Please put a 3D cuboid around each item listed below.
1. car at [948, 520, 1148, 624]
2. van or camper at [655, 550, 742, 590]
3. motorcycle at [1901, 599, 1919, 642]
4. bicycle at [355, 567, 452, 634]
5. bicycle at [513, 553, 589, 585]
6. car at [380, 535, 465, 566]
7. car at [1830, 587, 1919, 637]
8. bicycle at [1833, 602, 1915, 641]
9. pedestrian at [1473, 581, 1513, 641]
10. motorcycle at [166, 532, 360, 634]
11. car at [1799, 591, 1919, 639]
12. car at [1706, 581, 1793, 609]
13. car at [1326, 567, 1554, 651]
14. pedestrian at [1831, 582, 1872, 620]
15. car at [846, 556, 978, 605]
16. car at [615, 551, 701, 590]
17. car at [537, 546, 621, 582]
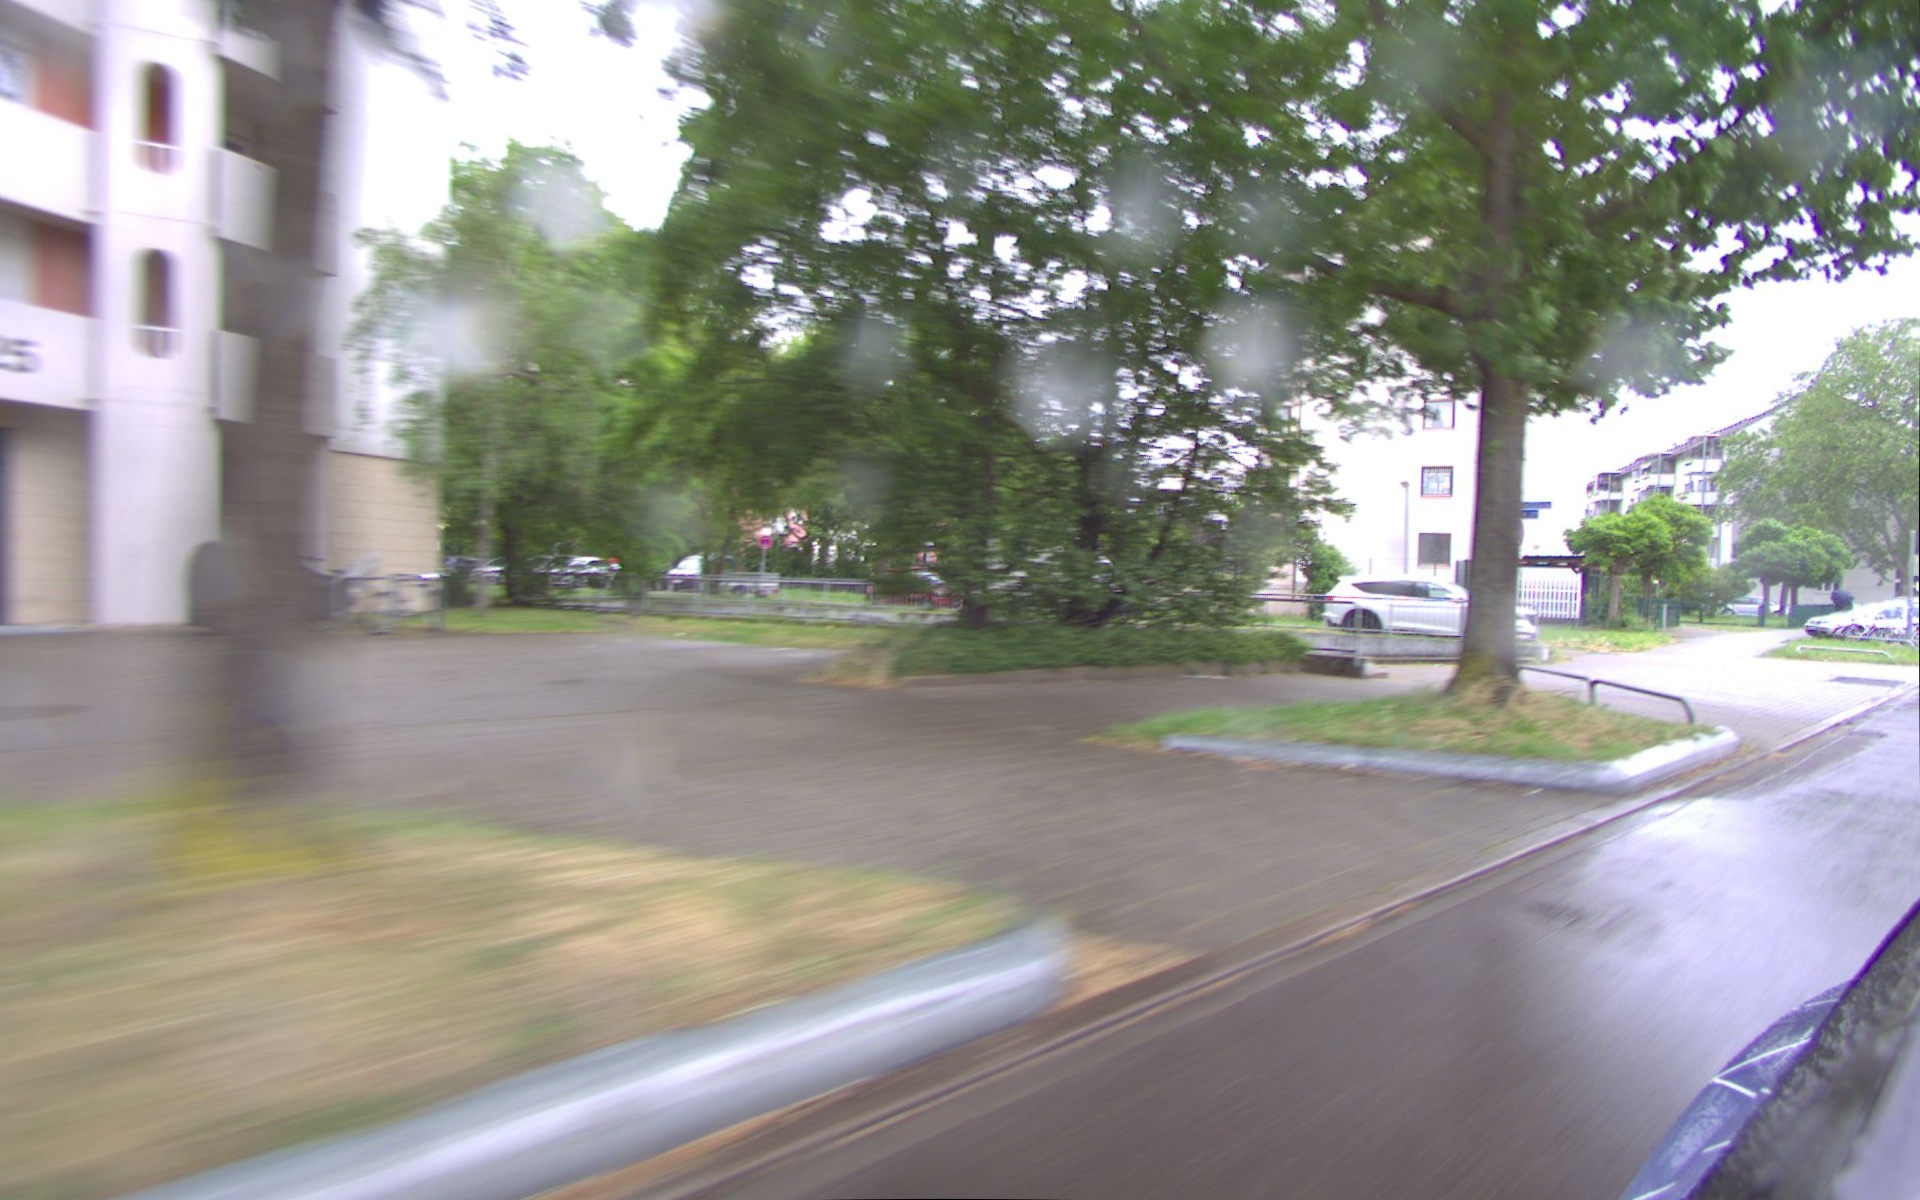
[{"bbox_3d":[2.693,-0.945,32.026,6.037,3.000,2.104,3,2,35],"label":"car"},{"bbox_3d":[-12.783,-1.463,49.718,1.885,1.793,4.386,2,2,22],"label":"van or camper"},{"bbox_3d":[31.467,0.685,32.424,1.753,1.353,0.686,3,2,13],"label":"motorcycle"},{"bbox_3d":[-8.290,-0.020,15.120,0.402,0.936,1.460,2,2,12],"label":"bicycle"},{"bbox_3d":[-21.787,-1.640,54.026,1.168,1.652,3.961,1,1,28],"label":"bicycle"},{"bbox_3d":[-31.776,-2.905,59.935,1.862,1.699,4.220,3,2,22],"label":"car"},{"bbox_3d":[34.845,0.472,36.870,4.290,1.671,1.849,3,2,17],"label":"car"},{"bbox_3d":[29.530,0.682,32.719,1.921,1.115,0.629,3,2,4],"label":"bicycle"},{"bbox_3d":[14.482,0.285,27.495,0.835,1.590,0.804,2,1,35],"label":"pedestrian"},{"bbox_3d":[-9.800,-0.255,14.376,0.872,1.304,2.295,2,2,12],"label":"motorcycle"},{"bbox_3d":[31.870,0.543,34.905,4.064,1.440,1.732,3,2,13],"label":"car"},{"bbox_3d":[53.189,-0.348,68.265,1.838,1.701,4.304,0,3,-39],"label":"car"},{"bbox_3d":[11.724,0.143,24.843,4.788,1.767,1.975,3,2,35],"label":"car"},{"bbox_3d":[44.684,0.045,50.717,1.405,1.836,1.104,1,1,-31],"label":"pedestrian"},{"bbox_3d":[-1.715,-0.695,35.007,4.394,1.545,1.882,3,2,38],"label":"car"},{"bbox_3d":[-14.926,-1.438,50.174,1.862,1.801,4.219,1,1,22],"label":"car"},{"bbox_3d":[-19.809,-1.830,52.783,1.707,1.744,3.959,0,0,29],"label":"car"}]
